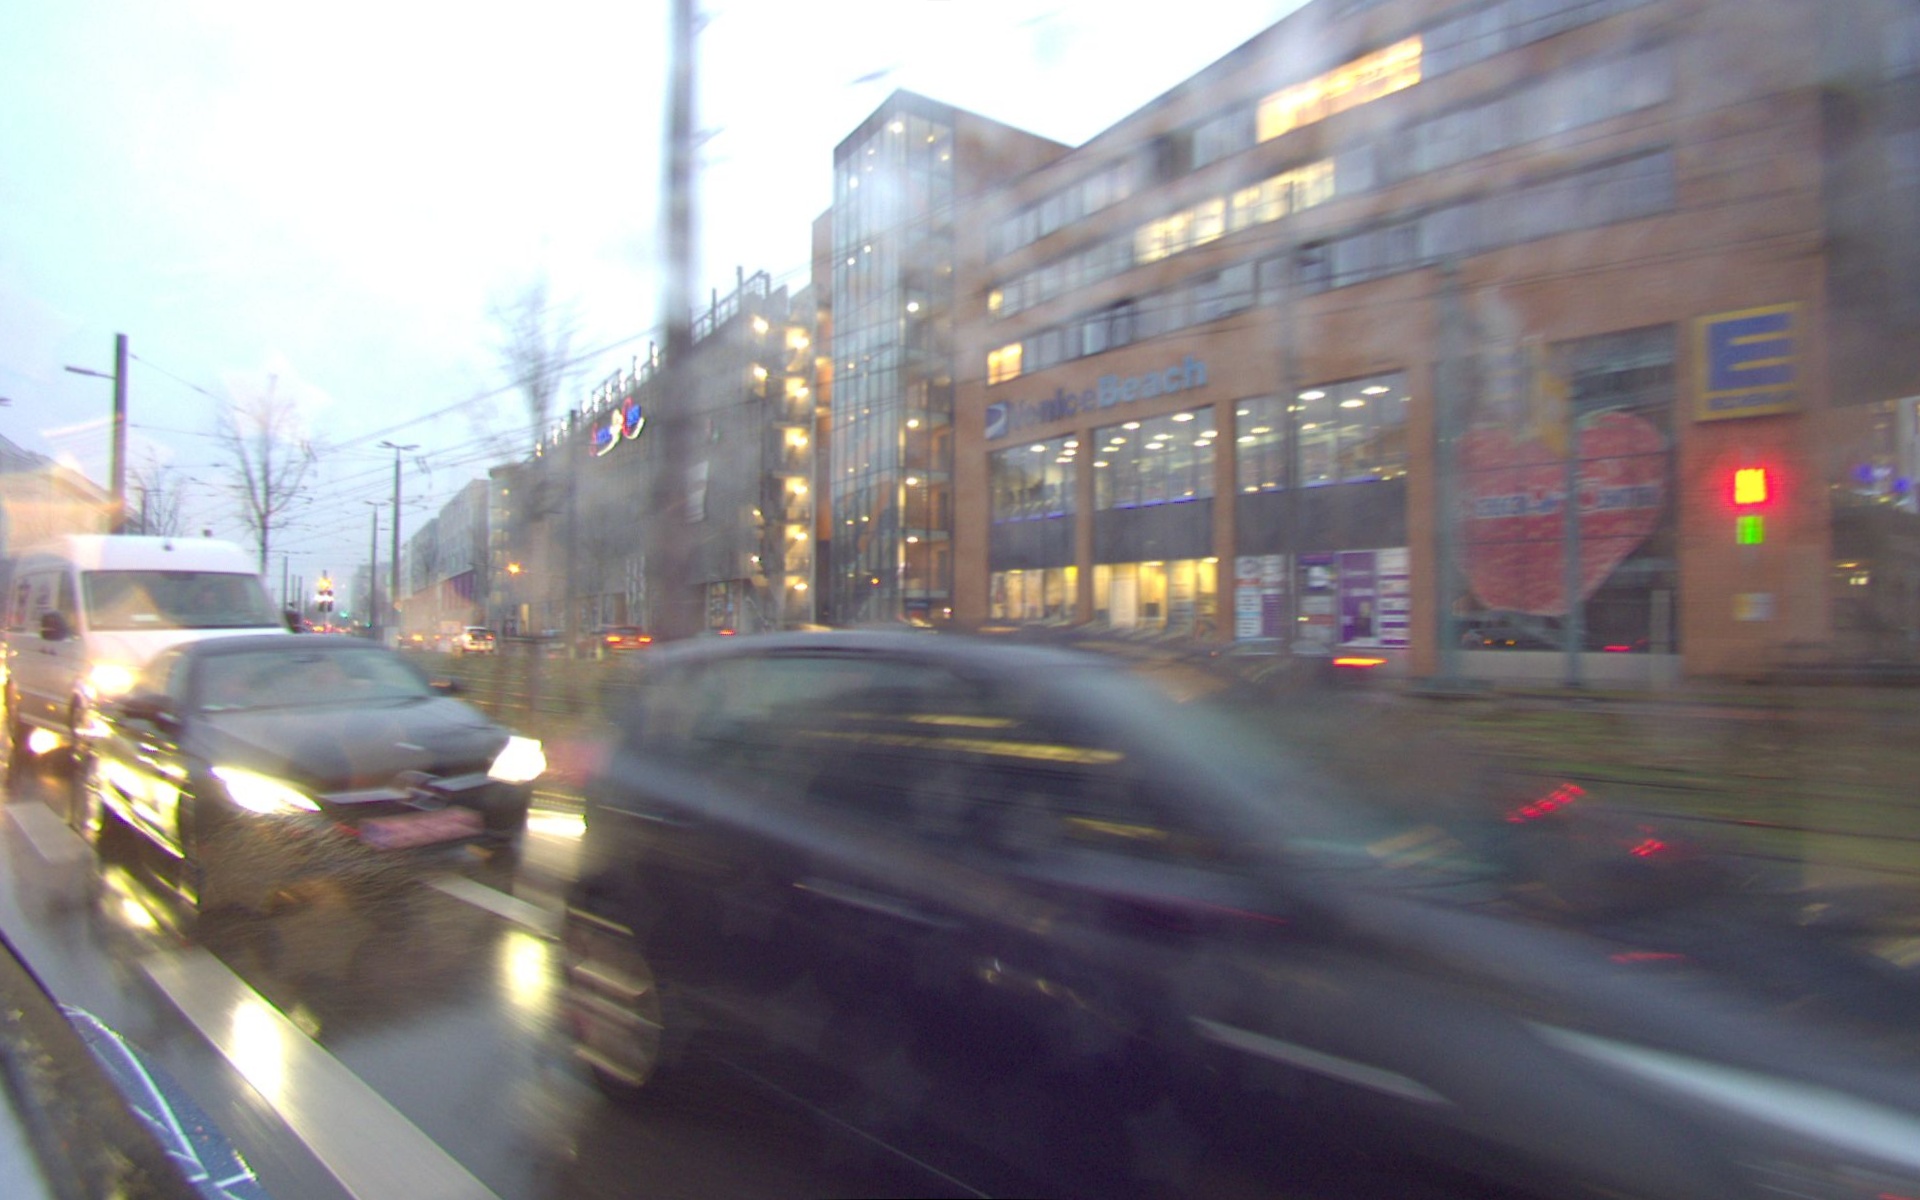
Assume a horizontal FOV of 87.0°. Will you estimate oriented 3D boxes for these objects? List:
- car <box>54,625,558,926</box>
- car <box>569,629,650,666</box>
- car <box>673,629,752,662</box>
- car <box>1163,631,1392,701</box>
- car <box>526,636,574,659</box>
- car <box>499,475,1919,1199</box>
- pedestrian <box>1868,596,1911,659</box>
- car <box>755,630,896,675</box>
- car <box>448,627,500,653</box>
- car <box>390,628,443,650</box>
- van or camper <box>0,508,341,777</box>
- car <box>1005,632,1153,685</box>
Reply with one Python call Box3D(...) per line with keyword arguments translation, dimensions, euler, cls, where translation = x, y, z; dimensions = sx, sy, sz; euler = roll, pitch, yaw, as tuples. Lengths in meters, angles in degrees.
Box3D(translation=(-4.429, 0.849, 6.590), dimensions=(4.055, 1.355, 1.736), euler=(-2, -2, 42), cls="car")
Box3D(translation=(-14.581, 1.921, 41.983), dimensions=(1.766, 1.431, 3.903), euler=(1, -2, -42), cls="car")
Box3D(translation=(-11.583, 2.085, 47.228), dimensions=(3.899, 1.431, 1.768), euler=(-2, -2, 43), cls="car")
Box3D(translation=(6.937, 1.394, 22.360), dimensions=(4.557, 1.340, 1.611), euler=(-1, 0, 35), cls="car")
Box3D(translation=(-26.339, 3.027, 64.971), dimensions=(1.633, 1.431, 3.702), euler=(1, -2, -42), cls="car")
Box3D(translation=(0.525, 0.665, 2.724), dimensions=(3.937, 1.535, 1.614), euler=(-1, -2, 39), cls="car")
Box3D(translation=(26.034, 0.774, 28.363), dimensions=(0.658, 1.766, 0.534), euler=(0, -2, 10), cls="pedestrian")
Box3D(translation=(-4.125, 1.545, 30.676), dimensions=(4.371, 1.247, 1.821), euler=(-1, -2, 41), cls="car")
Box3D(translation=(-27.659, 2.260, 57.578), dimensions=(1.765, 1.431, 3.905), euler=(1, -2, -40), cls="car")
Box3D(translation=(-36.595, 2.591, 68.163), dimensions=(3.894, 1.431, 1.770), euler=(-1, -2, 38), cls="car")
Box3D(translation=(-9.878, 0.472, 12.285), dimensions=(5.891, 2.551, 2.127), euler=(-1, -2, 38), cls="van or camper")
Box3D(translation=(3.638, 1.757, 31.416), dimensions=(4.285, 1.515, 1.821), euler=(-1, -2, 40), cls="car")
